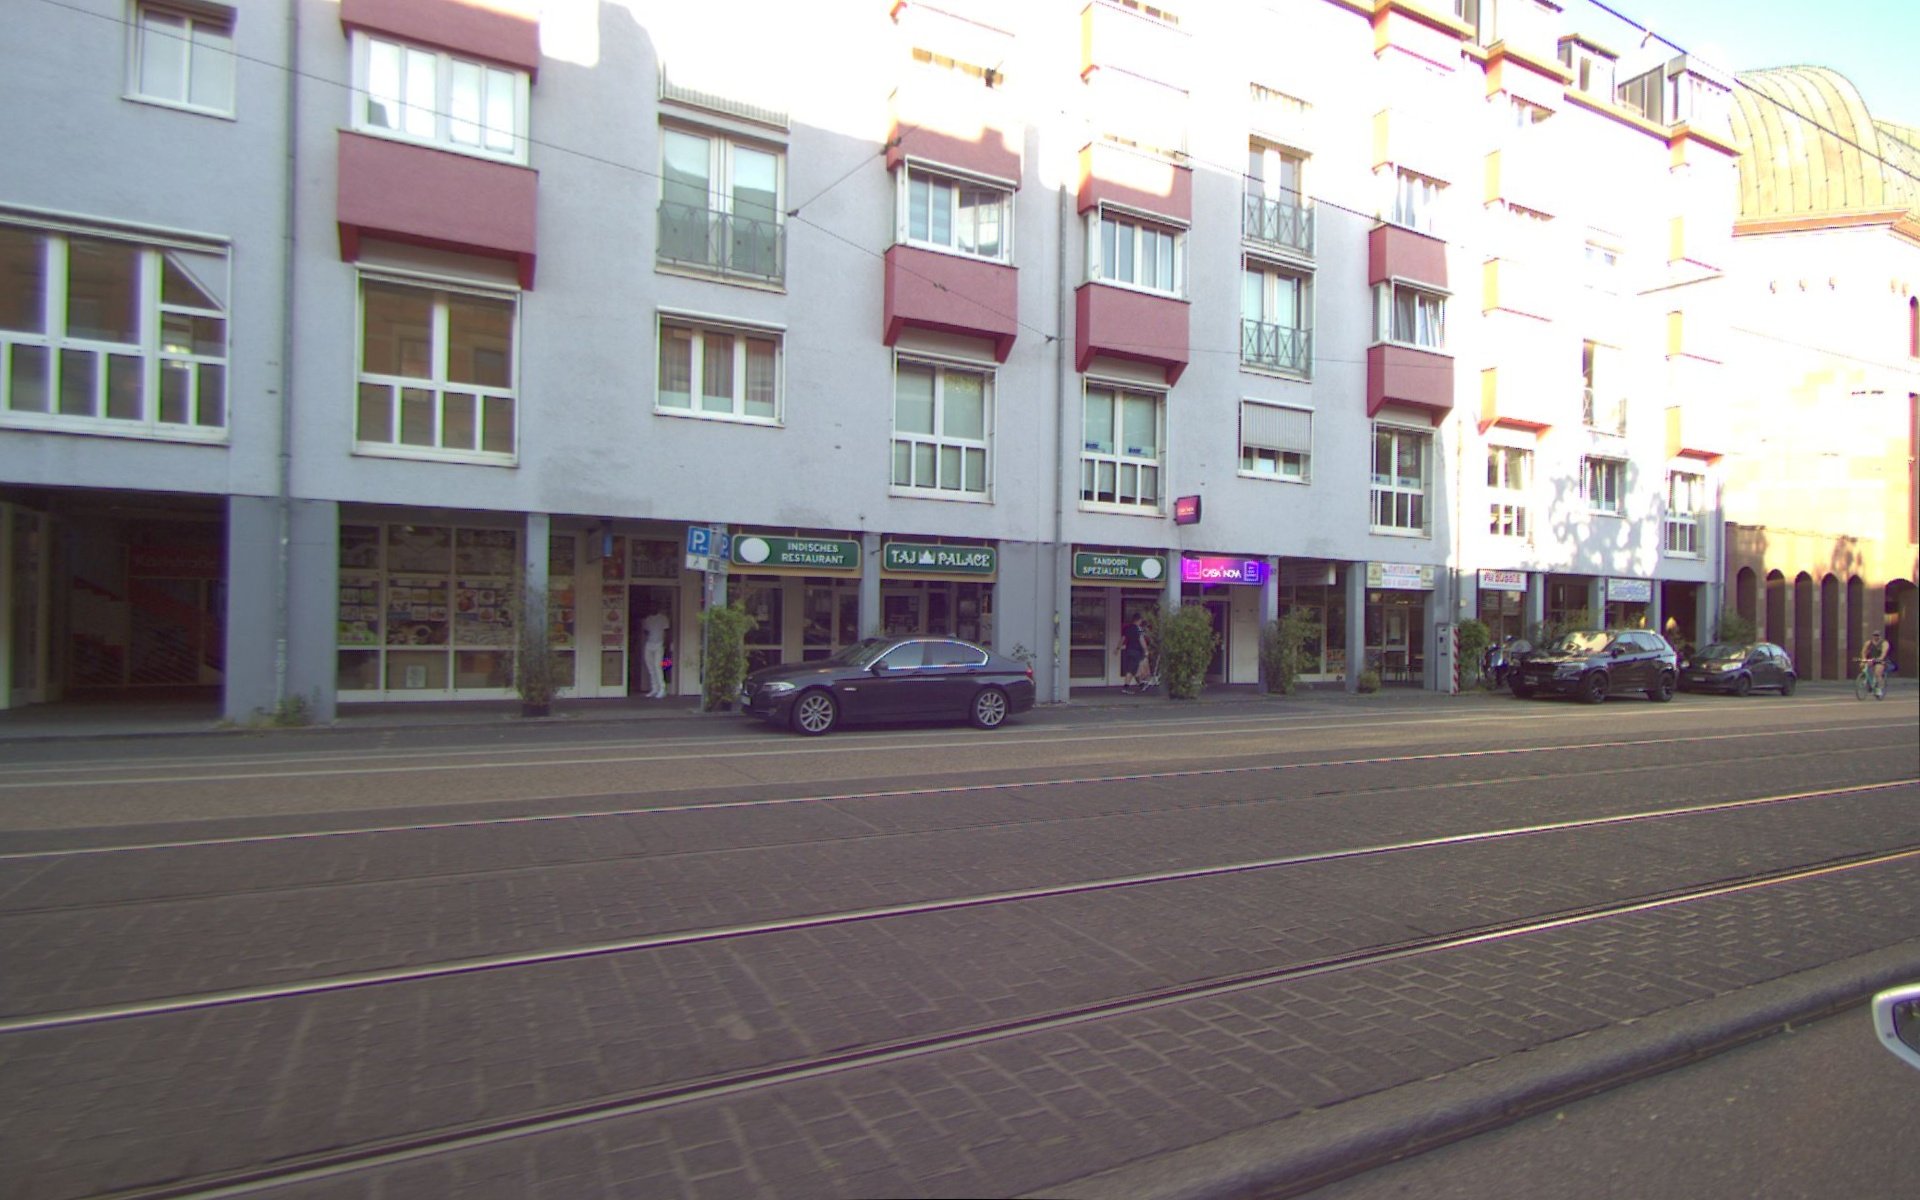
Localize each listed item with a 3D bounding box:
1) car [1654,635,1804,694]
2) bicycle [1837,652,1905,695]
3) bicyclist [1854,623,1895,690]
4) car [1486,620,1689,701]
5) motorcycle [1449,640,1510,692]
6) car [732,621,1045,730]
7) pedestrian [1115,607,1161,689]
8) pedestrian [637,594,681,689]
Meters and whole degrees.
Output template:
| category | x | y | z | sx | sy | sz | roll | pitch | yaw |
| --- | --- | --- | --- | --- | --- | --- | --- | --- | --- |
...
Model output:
| category | x | y | z | sx | sy | sz | roll | pitch | yaw |
| --- | --- | --- | --- | --- | --- | --- | --- | --- | --- |
| car | 21.592 | 1.791 | 28.213 | 3.534 | 1.470 | 1.864 | 2 | 0 | -24 |
| bicycle | 23.982 | 1.925 | 26.432 | 2.157 | 1.092 | 0.580 | 2 | -2 | -27 |
| bicyclist | 24.149 | 1.488 | 26.534 | 0.736 | 1.734 | 0.569 | 2 | -2 | -27 |
| car | 15.403 | 1.486 | 24.627 | 4.760 | 1.735 | 2.082 | 3 | 0 | -28 |
| motorcycle | 13.063 | 1.645 | 25.223 | 2.127 | 1.221 | 0.663 | 3 | 0 | -44 |
| car | -1.091 | 1.144 | 16.077 | 4.651 | 1.458 | 1.860 | 2 | 0 | -30 |
| pedestrian | 3.874 | 1.039 | 21.873 | 0.736 | 1.735 | 0.611 | 1 | 0 | -29 |
| pedestrian | -5.664 | 0.762 | 18.873 | 0.609 | 1.735 | 0.739 | 1 | 0 | -30 |
